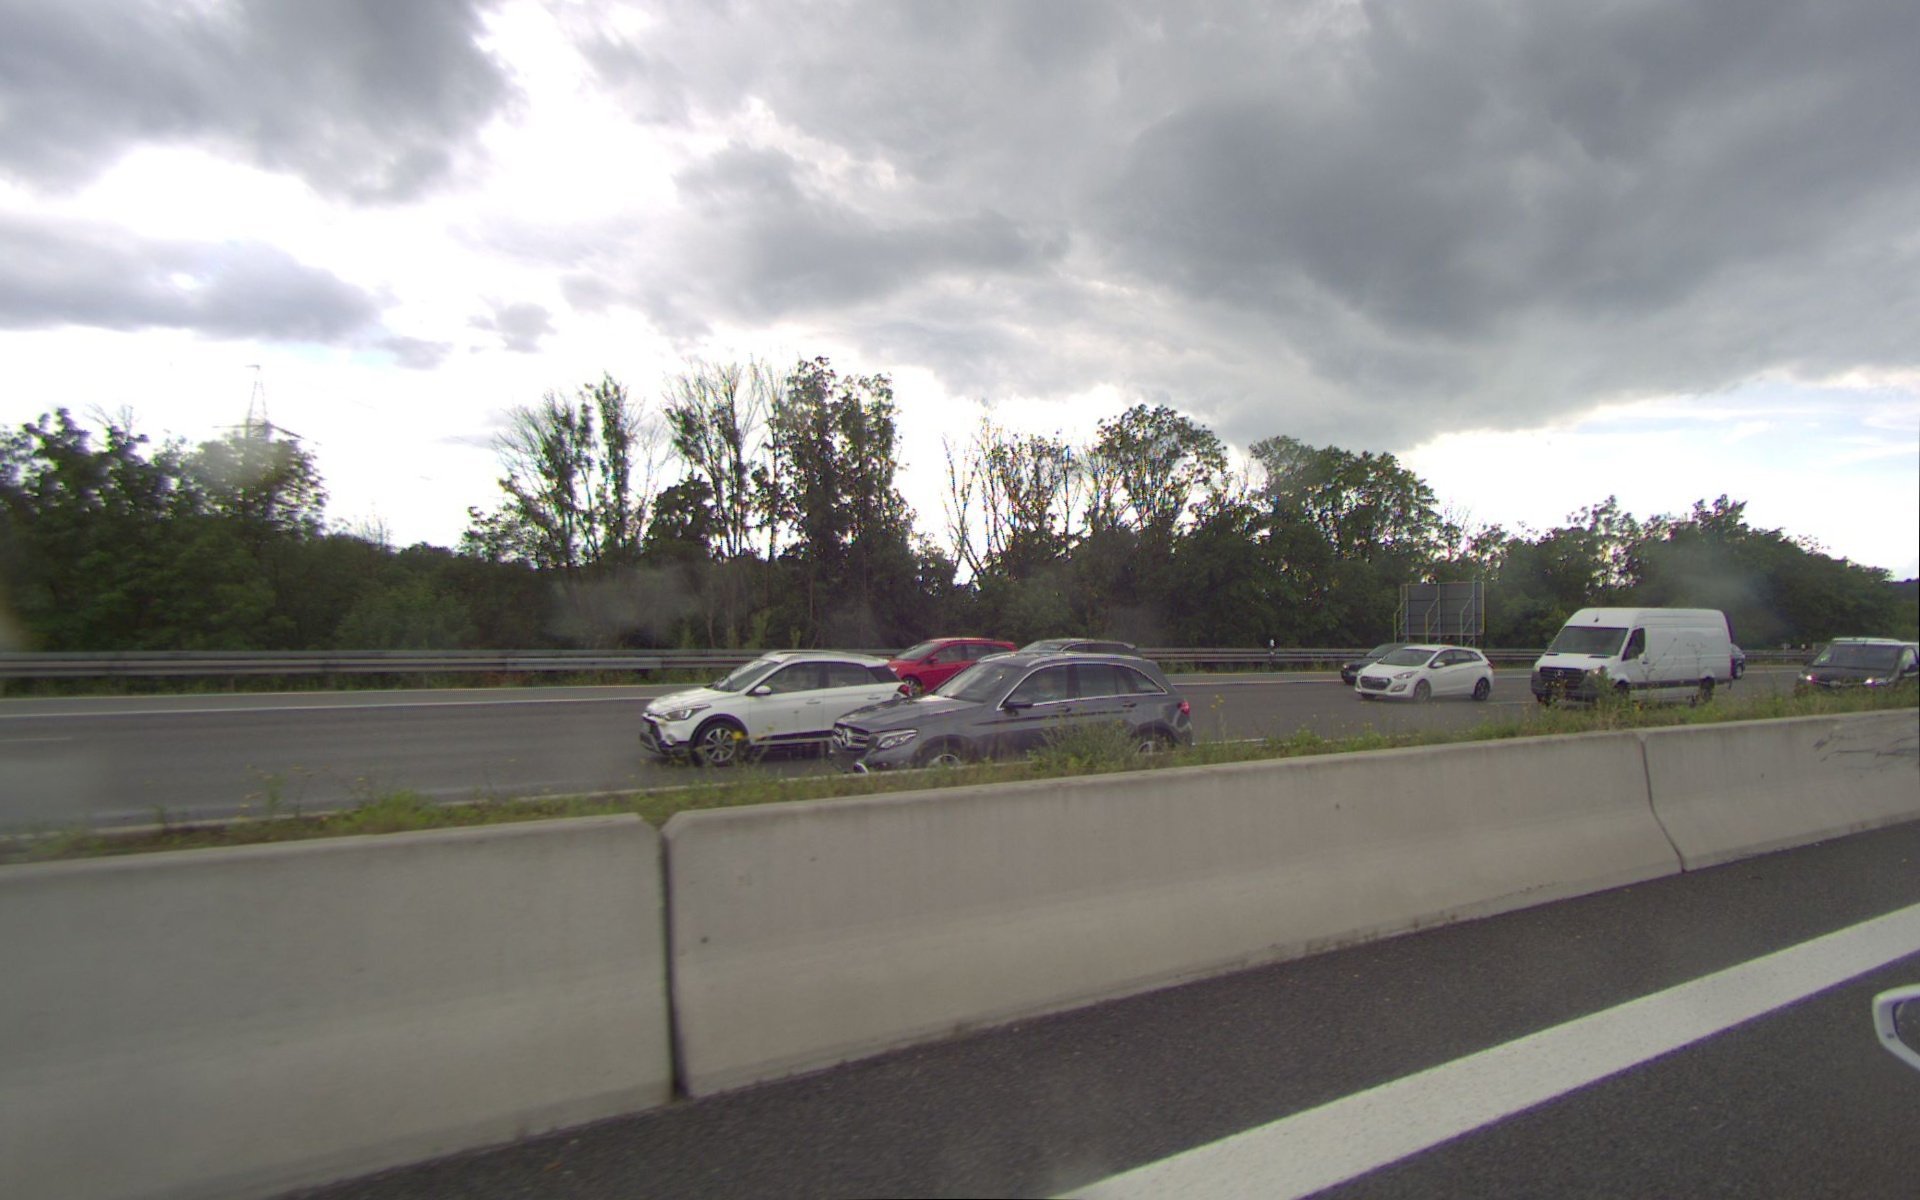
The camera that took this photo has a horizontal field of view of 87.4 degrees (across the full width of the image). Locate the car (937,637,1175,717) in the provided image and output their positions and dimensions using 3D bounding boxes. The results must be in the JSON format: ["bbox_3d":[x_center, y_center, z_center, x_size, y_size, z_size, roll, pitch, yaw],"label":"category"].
[{"bbox_3d":[2.094,1.577,21.510,4.856,1.514,1.973,2,-2,-30],"label":"car"}]

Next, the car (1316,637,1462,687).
[{"bbox_3d":[14.213,2.029,33.209,4.856,1.514,1.973,2,-2,-30],"label":"car"}]

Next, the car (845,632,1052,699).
[{"bbox_3d":[-0.248,1.589,25.070,4.856,1.514,1.973,2,-2,-30],"label":"car"}]

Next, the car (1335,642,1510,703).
[{"bbox_3d":[12.734,1.950,27.601,4.856,1.514,1.973,2,-2,-30],"label":"car"}]

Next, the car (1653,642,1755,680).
[{"bbox_3d":[32.060,2.583,43.239,4.425,1.514,1.973,2,-2,-30],"label":"car"}]

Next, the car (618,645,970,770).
[{"bbox_3d":[-2.368,1.482,14.904,4.857,1.514,1.714,2,0,-31],"label":"car"}]

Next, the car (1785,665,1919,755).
[{"bbox_3d":[22.682,2.617,24.838,5.361,1.929,1.809,2,-2,-30],"label":"car"}]

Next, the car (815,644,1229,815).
[{"bbox_3d":[0.855,1.401,12.099,4.857,1.624,1.714,2,0,-31],"label":"car"}]

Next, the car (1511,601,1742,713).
[{"bbox_3d":[18.018,1.489,26.979,7.645,2.687,2.039,2,-2,-30],"label":"car"}]

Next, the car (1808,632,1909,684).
[{"bbox_3d":[38.683,2.456,43.231,4.425,2.105,1.973,2,-2,-30],"label":"car"}]
